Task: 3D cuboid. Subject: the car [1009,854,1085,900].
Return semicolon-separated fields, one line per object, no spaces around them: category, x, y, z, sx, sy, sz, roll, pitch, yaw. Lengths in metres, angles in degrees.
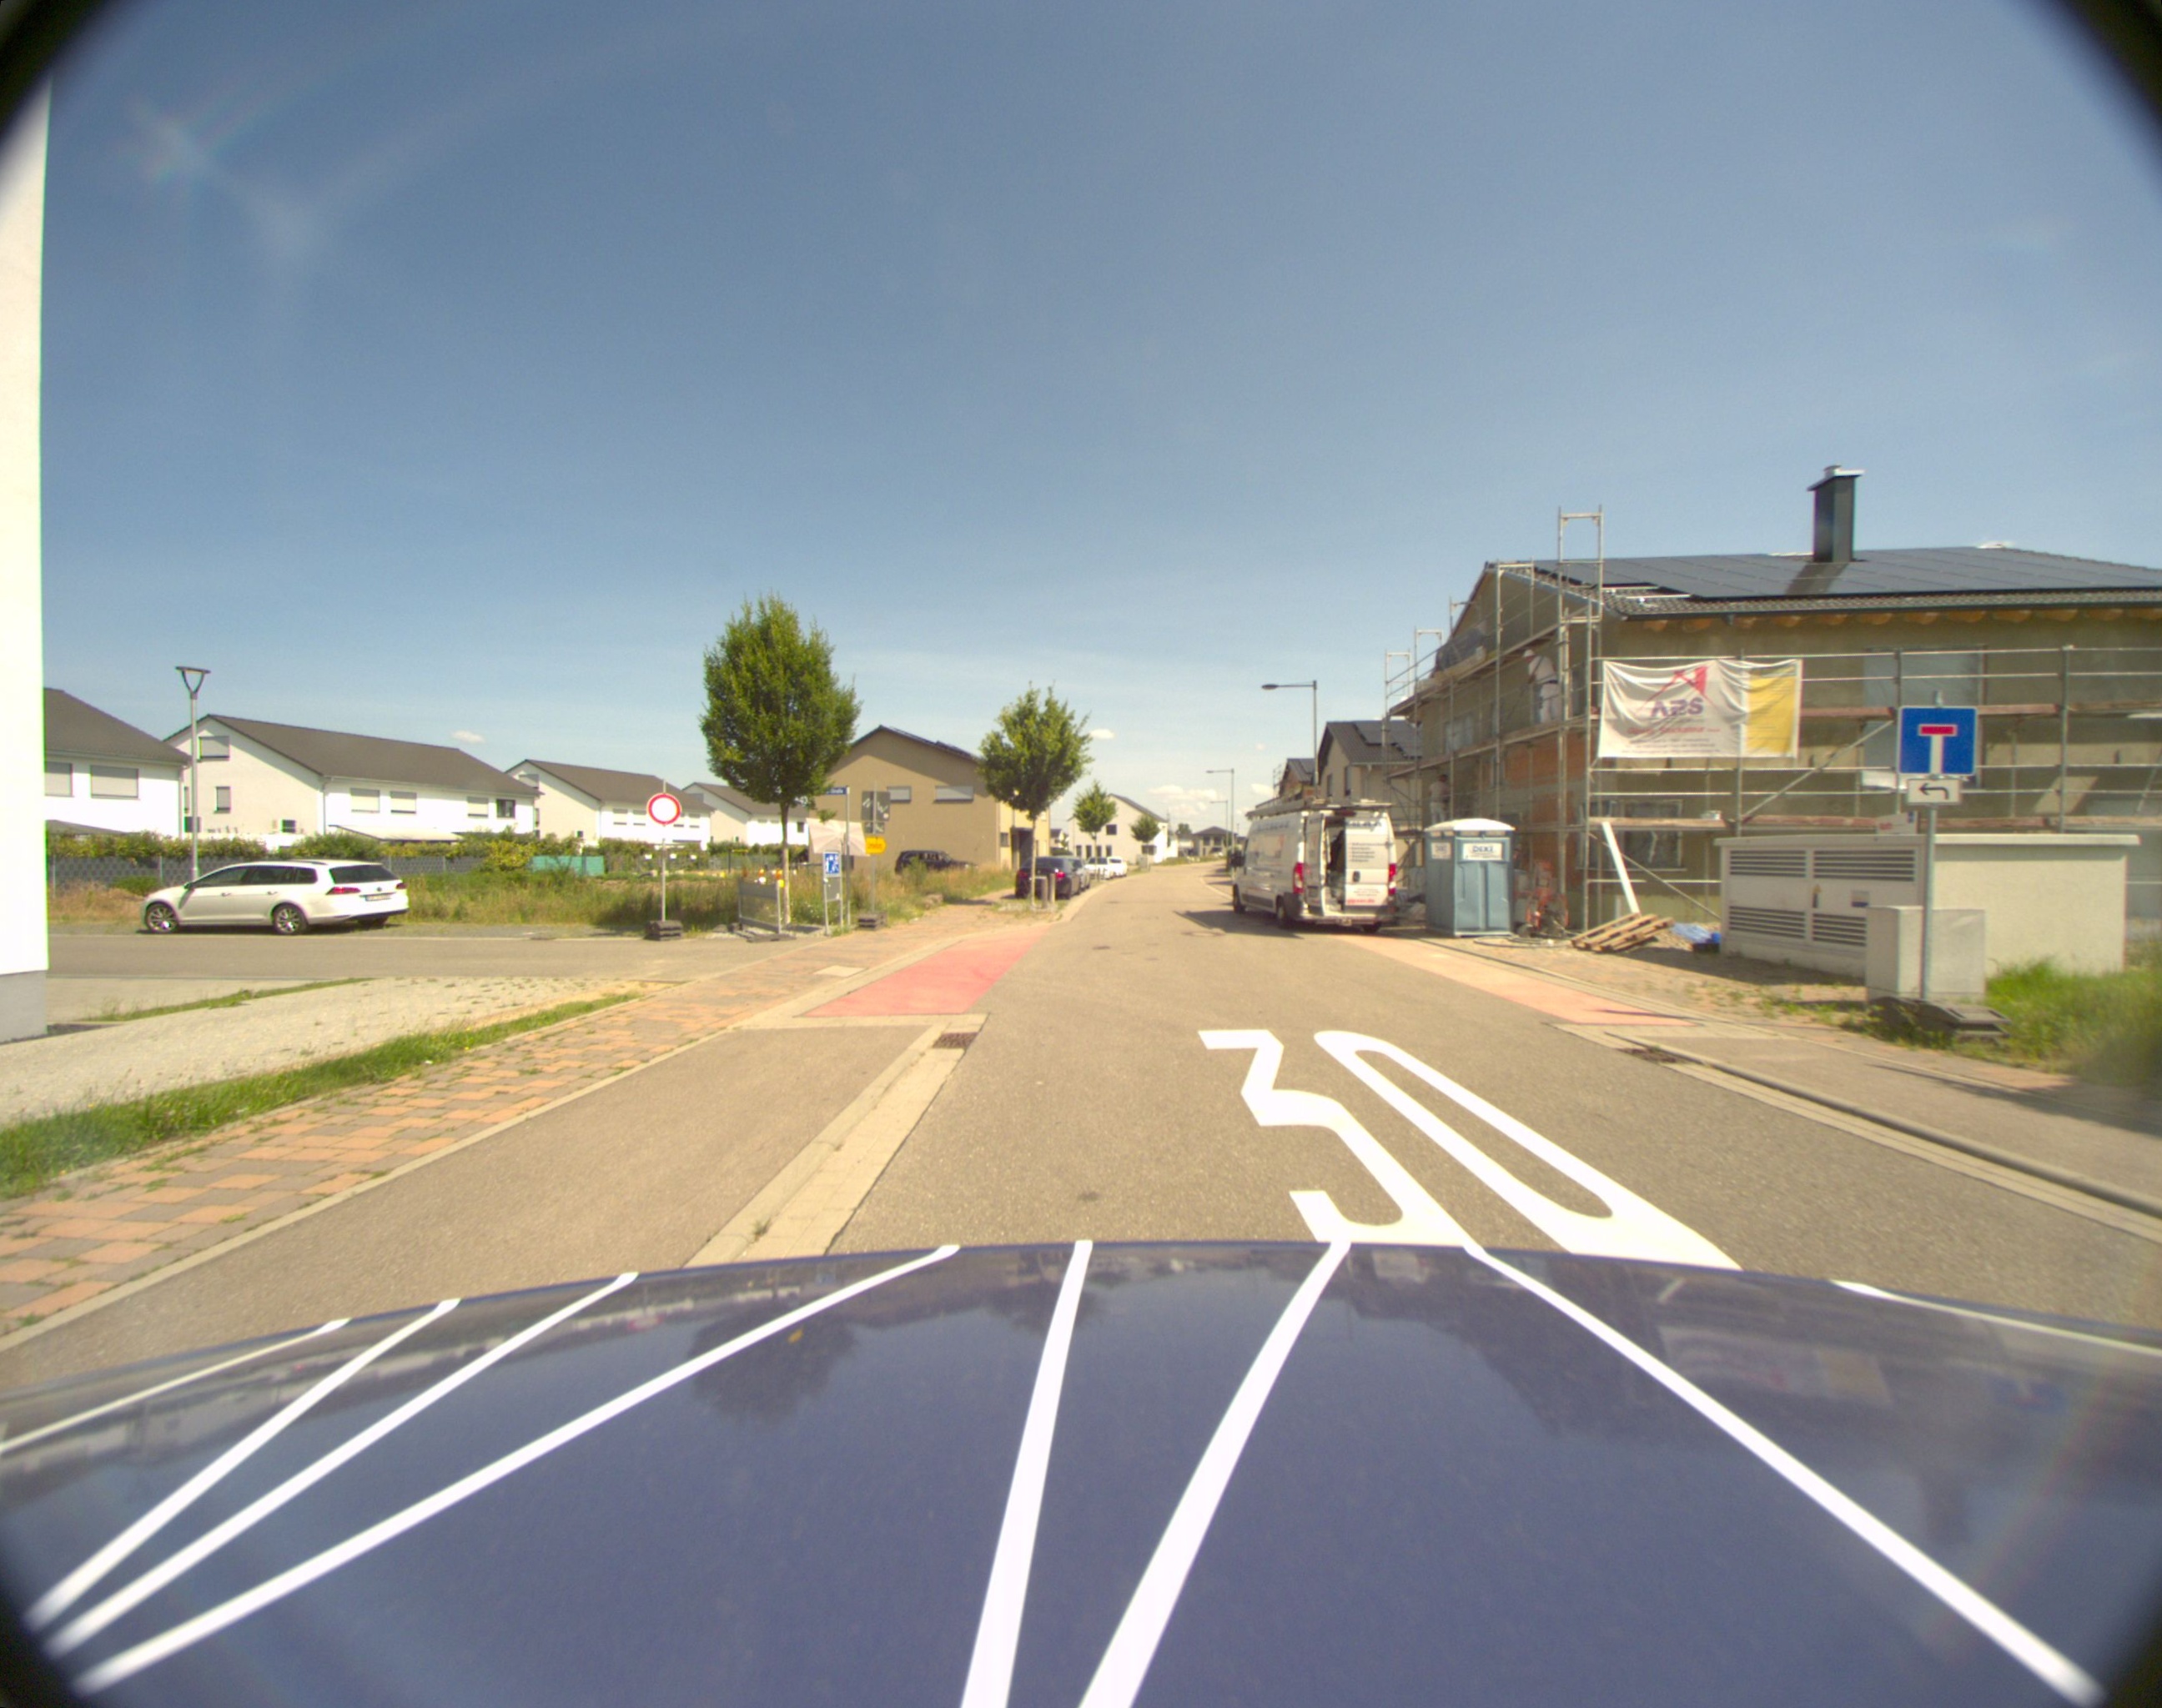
car;-1.097;0.760;27.294;1.922;1.461;5.142;1;0;6

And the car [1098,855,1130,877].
car;2.447;0.837;55.466;1.817;1.447;4.567;1;1;9

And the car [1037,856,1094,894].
car;-0.579;0.867;33.345;1.922;1.502;5.297;1;0;5

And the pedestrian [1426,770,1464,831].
pedestrian;10.210;-1.494;21.346;0.748;1.671;0.578;0;3;1

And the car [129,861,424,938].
car;-16.384;0.886;15.631;4.167;1.427;1.882;0;2;3

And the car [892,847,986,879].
car;-7.864;0.495;42.295;4.755;1.635;2.000;1;2;6

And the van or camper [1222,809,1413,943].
van or camper;5.077;0.357;17.591;2.279;2.539;6.365;0;1;-1

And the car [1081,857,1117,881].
car;1.199;0.945;49.251;1.783;1.417;4.517;1;0;8

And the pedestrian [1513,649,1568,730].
pedestrian;9.372;-3.328;15.501;0.564;1.491;0.746;-2;3;-32
